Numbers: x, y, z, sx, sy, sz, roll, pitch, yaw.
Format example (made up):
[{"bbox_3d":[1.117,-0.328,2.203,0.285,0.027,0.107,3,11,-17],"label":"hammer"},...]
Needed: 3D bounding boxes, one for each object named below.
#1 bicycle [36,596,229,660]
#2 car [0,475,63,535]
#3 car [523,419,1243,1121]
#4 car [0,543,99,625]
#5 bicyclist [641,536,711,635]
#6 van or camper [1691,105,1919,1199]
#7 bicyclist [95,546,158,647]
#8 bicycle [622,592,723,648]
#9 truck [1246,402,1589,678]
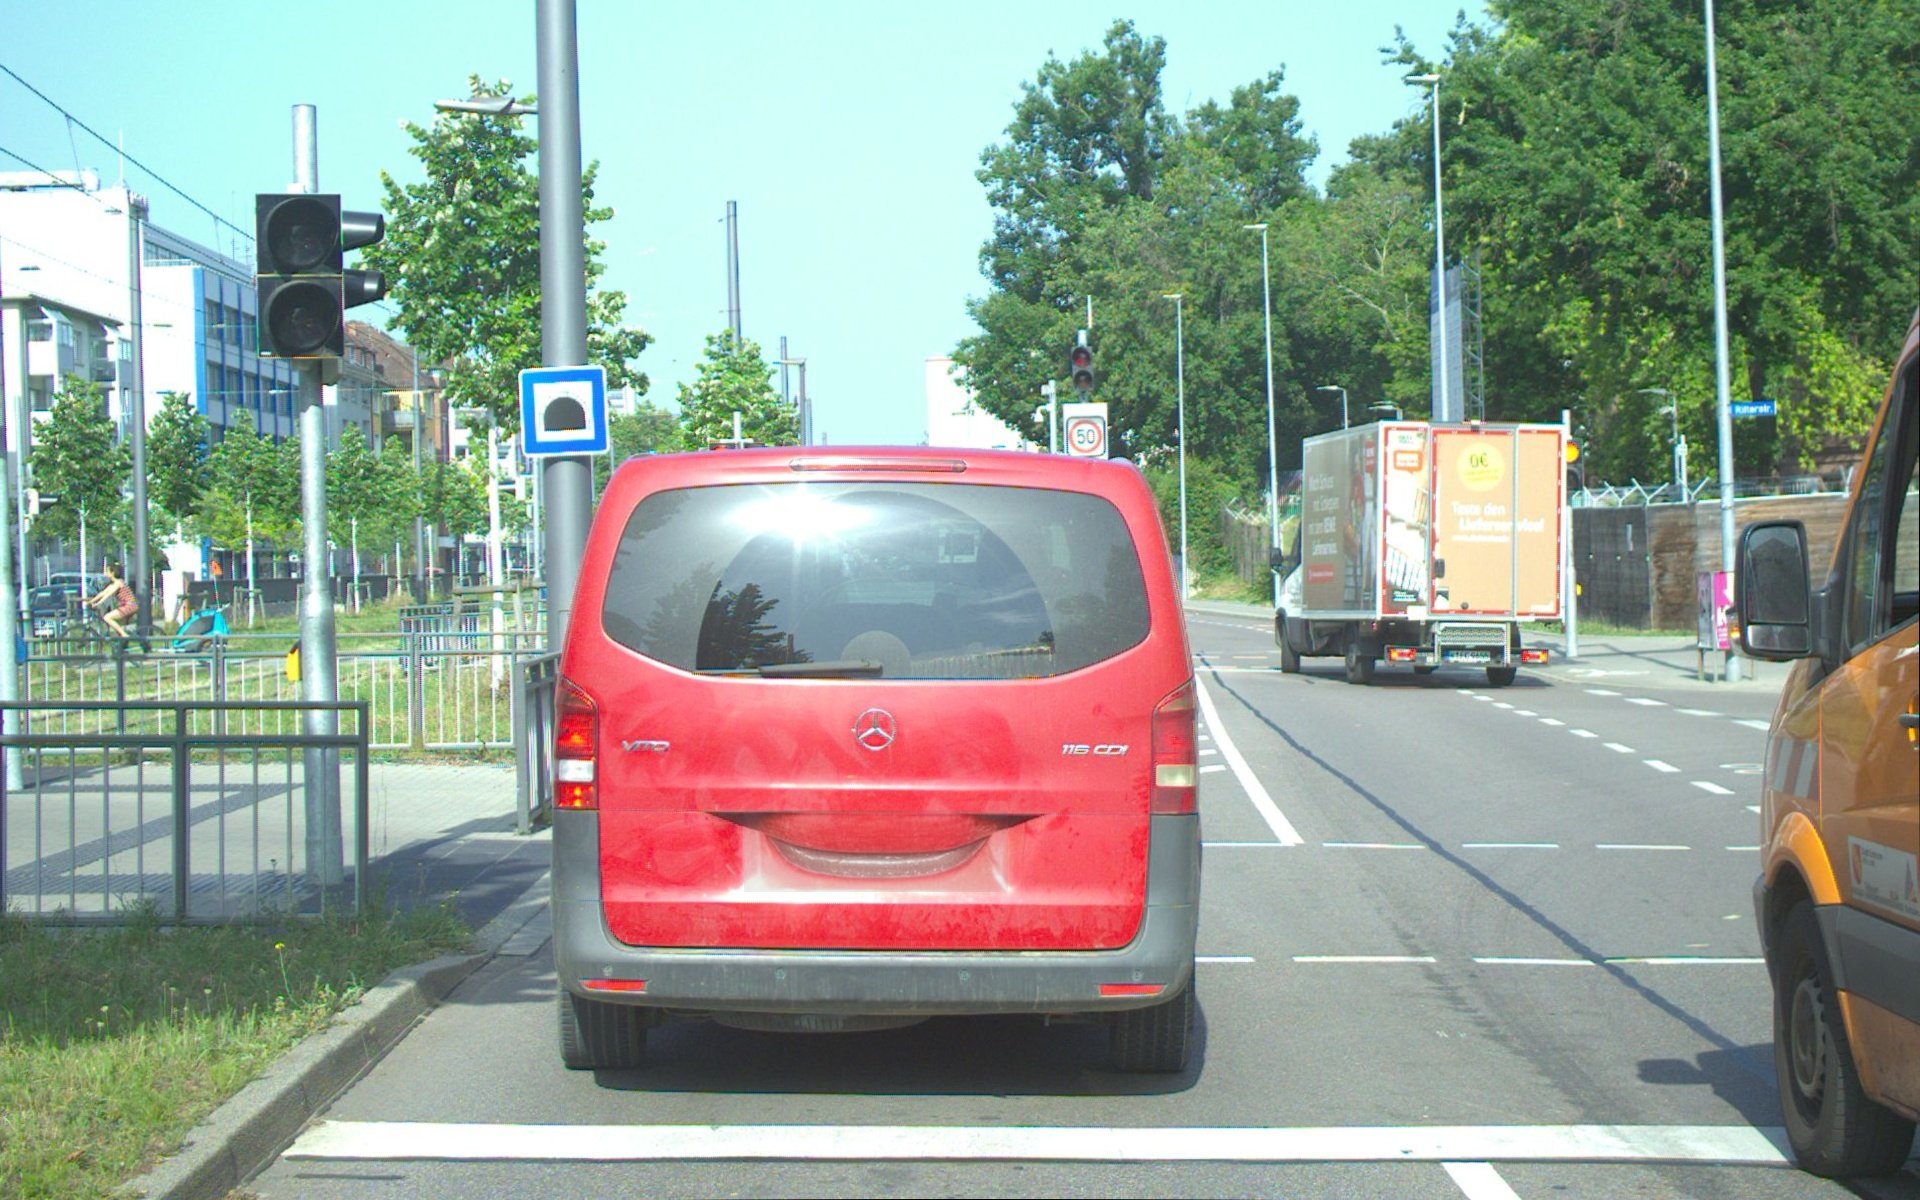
[{"bbox_3d":[-13.509,0.451,56.188,2.987,0.962,0.900,-1,1,-9],"label":"bicycle"},{"bbox_3d":[-35.577,-3.580,129.818,2.249,2.007,5.263,1,-1,-3],"label":"car"},{"bbox_3d":[-0.187,0.428,11.157,1.901,1.853,4.000,1,1,1],"label":"car"},{"bbox_3d":[-23.890,-0.404,89.159,1.993,2.007,4.000,-3,0,0],"label":"car"},{"bbox_3d":[-4.173,-0.209,50.566,0.686,1.435,0.804,1,0,28],"label":"bicyclist"},{"bbox_3d":[3.008,0.199,6.365,1.986,2.464,6.061,0,0,0],"label":"van or camper"},{"bbox_3d":[-13.617,-0.058,56.164,0.890,1.623,0.892,-1,1,-9],"label":"bicyclist"},{"bbox_3d":[-4.214,0.294,50.474,0.719,0.795,1.601,1,0,27],"label":"bicycle"},{"bbox_3d":[5.451,-0.687,42.395,2.501,3.050,7.821,1,0,-5],"label":"truck"}]
